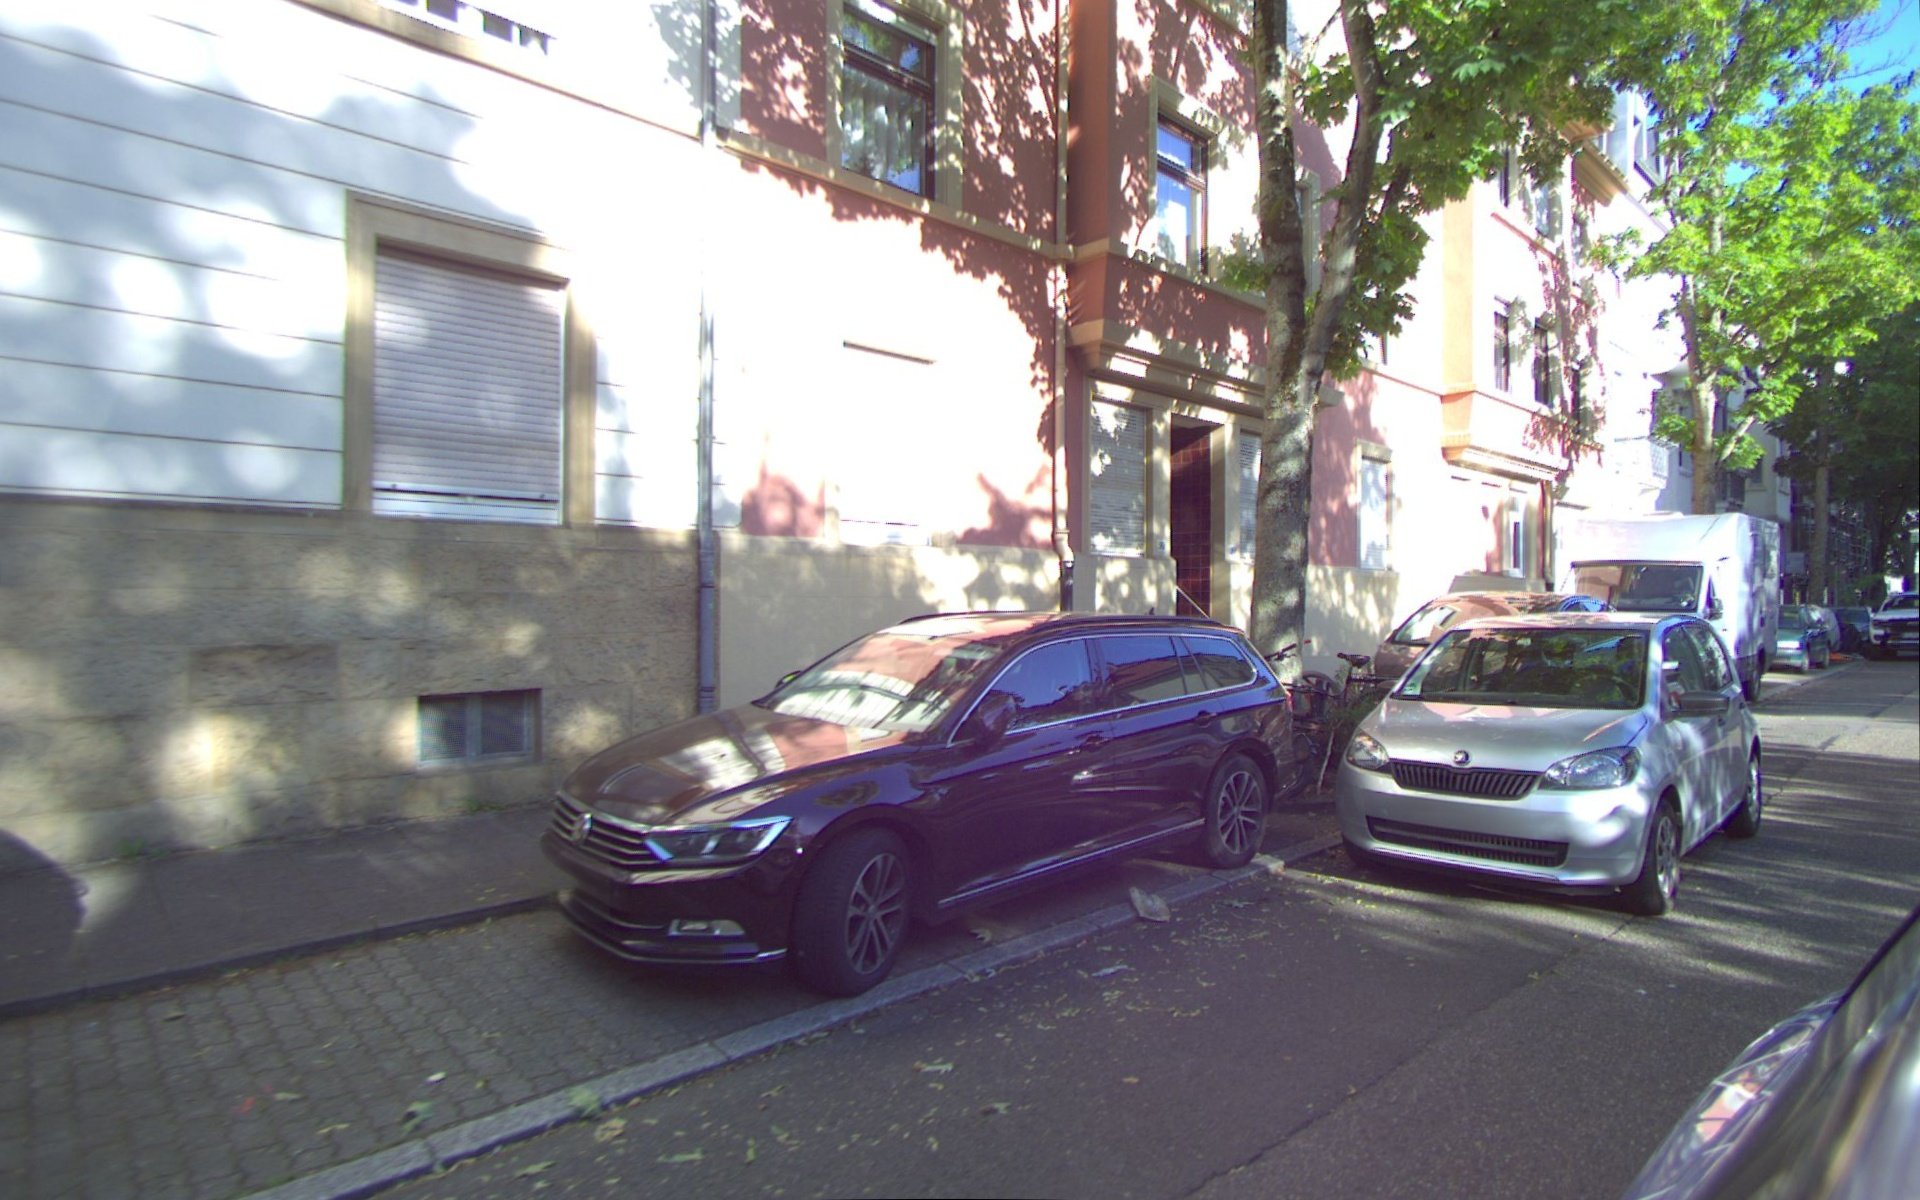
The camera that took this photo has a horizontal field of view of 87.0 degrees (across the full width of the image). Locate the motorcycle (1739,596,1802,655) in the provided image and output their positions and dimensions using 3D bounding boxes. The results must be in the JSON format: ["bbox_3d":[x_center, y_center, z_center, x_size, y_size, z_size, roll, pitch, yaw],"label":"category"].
[{"bbox_3d":[20.565,0.623,25.661,2.195,1.434,0.862,0,-1,-41],"label":"motorcycle"}]

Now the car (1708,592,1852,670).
[{"bbox_3d":[18.491,0.607,22.740,4.698,1.548,1.754,0,1,-41],"label":"car"}]

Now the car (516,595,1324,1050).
[{"bbox_3d":[0.113,0.754,5.599,4.385,1.533,1.788,0,-1,-43],"label":"car"}]

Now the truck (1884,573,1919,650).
[{"bbox_3d":[26.663,0.290,27.465,5.446,1.974,1.831,0,0,-42],"label":"truck"}]

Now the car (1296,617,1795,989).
[{"bbox_3d":[3.819,0.918,6.324,3.736,1.564,1.680,0,-1,-43],"label":"car"}]

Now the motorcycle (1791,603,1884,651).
[{"bbox_3d":[23.548,0.712,27.186,1.736,1.256,0.700,0,-1,9],"label":"motorcycle"}]

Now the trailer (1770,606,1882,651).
[{"bbox_3d":[22.493,0.715,26.362,2.073,1.126,1.102,0,0,35],"label":"trailer"}]

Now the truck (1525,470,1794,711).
[{"bbox_3d":[10.843,-0.168,15.448,6.006,3.005,2.076,0,2,-43],"label":"truck"}]

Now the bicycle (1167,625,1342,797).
[{"bbox_3d":[2.225,0.805,7.773,0.322,1.154,1.309,0,1,-42],"label":"bicycle"}]

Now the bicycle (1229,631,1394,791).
[{"bbox_3d":[2.680,0.812,7.794,0.293,1.089,1.202,0,1,-42],"label":"bicycle"}]

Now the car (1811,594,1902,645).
[{"bbox_3d":[27.934,0.568,31.477,4.355,1.440,1.682,0,1,-43],"label":"car"}]

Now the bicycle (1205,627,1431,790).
[{"bbox_3d":[3.109,0.889,8.946,0.559,1.181,1.814,0,2,-42],"label":"bicycle"}]

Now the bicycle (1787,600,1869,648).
[{"bbox_3d":[24.911,0.676,29.064,0.576,1.322,1.760,0,0,-43],"label":"bicycle"}]

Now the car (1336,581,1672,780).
[{"bbox_3d":[6.188,0.681,11.195,4.862,1.737,1.887,0,0,-44],"label":"car"}]

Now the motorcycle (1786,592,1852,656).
[{"bbox_3d":[21.208,0.570,24.969,2.101,1.505,0.931,0,-1,-41],"label":"motorcycle"}]
